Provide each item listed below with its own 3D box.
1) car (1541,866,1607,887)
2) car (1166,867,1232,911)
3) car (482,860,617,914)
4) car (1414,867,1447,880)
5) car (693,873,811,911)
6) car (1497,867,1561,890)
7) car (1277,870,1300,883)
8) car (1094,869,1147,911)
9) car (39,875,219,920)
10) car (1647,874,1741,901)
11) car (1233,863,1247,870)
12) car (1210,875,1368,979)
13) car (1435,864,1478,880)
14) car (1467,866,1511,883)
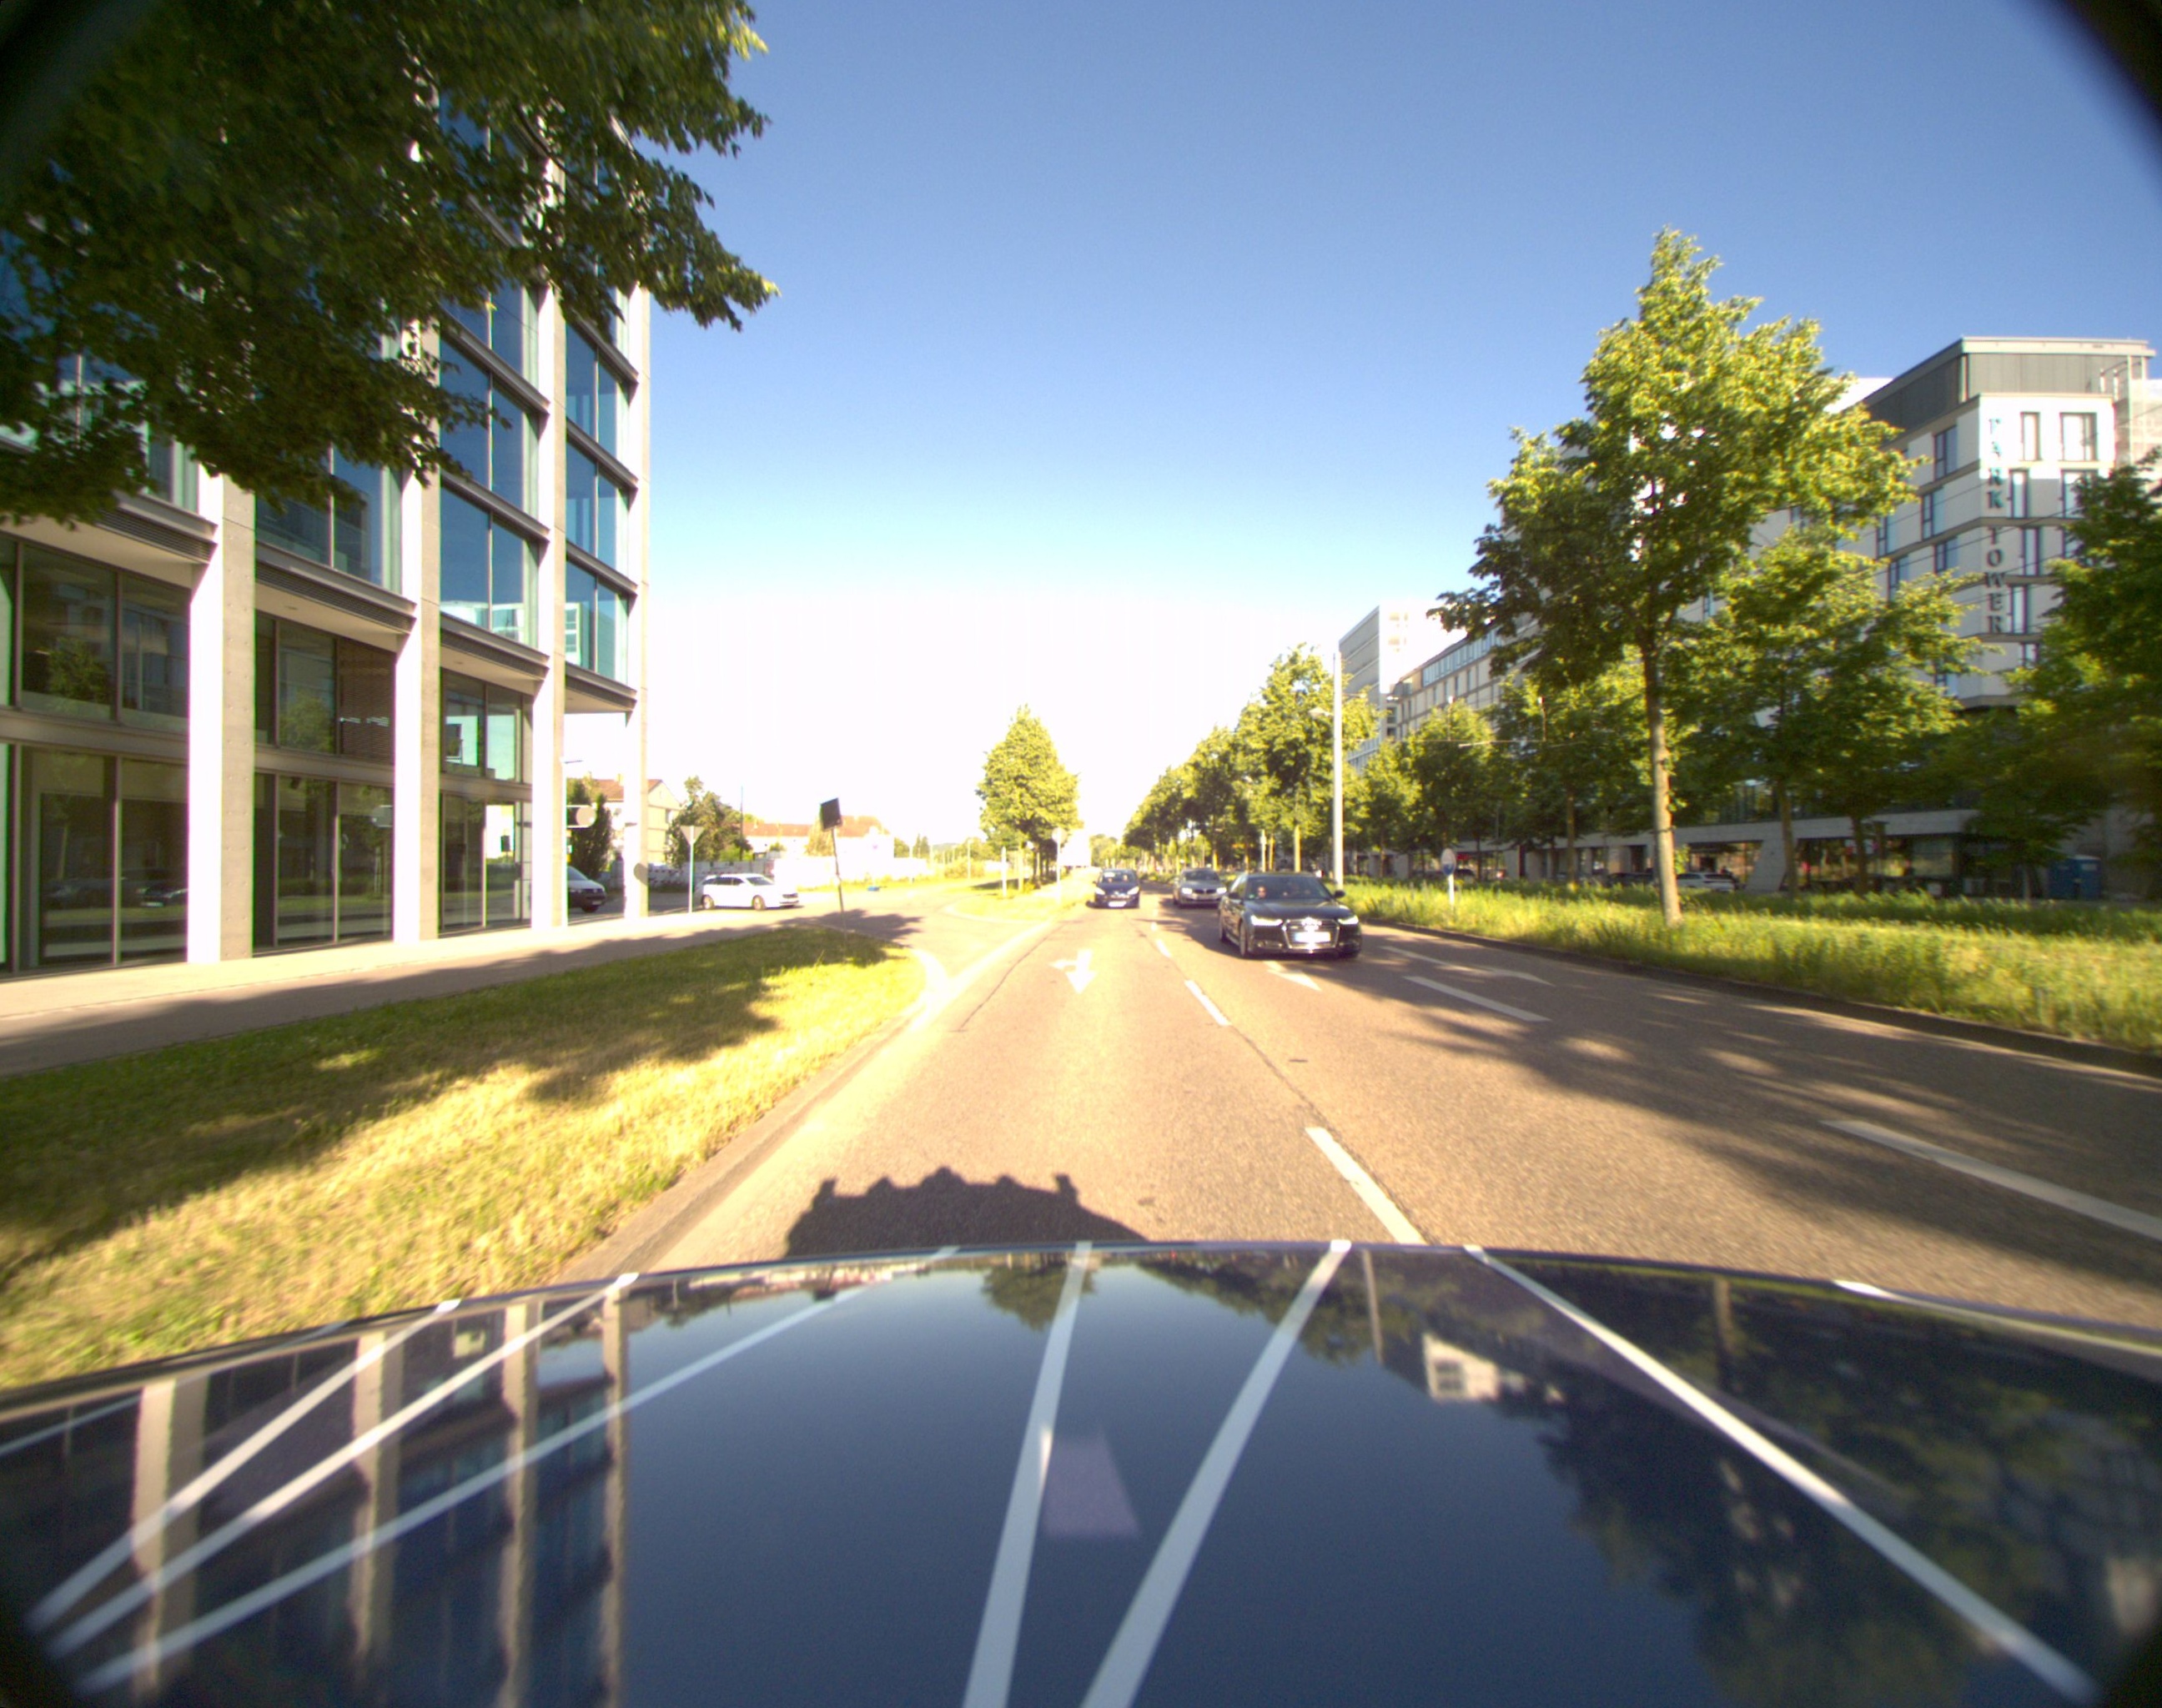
[{"bbox_3d":[34.631,1.530,53.539,1.719,1.411,4.545,0,-1,1],"label":"car"},{"bbox_3d":[4.471,1.296,29.445,1.849,1.559,4.529,0,-1,0],"label":"car"},{"bbox_3d":[-20.762,1.246,29.687,5.070,1.970,1.942,0,0,23],"label":"car"},{"bbox_3d":[34.906,1.912,76.023,1.672,1.200,3.583,0,0,-1],"label":"car"},{"bbox_3d":[-13.560,1.527,31.320,4.517,1.385,1.776,0,1,21],"label":"car"},{"bbox_3d":[29.384,1.580,49.999,1.719,1.412,4.545,0,0,2],"label":"car"},{"bbox_3d":[26.447,2.864,96.944,1.802,1.678,4.321,-1,-1,0],"label":"car"},{"bbox_3d":[1.473,1.335,29.394,1.763,1.506,3.948,0,-1,-1],"label":"car"},{"bbox_3d":[-37.089,1.646,29.793,1.998,1.606,4.001,0,-1,1],"label":"car"},{"bbox_3d":[34.498,1.847,42.929,1.719,1.411,4.545,0,-1,1],"label":"car"},{"bbox_3d":[29.384,2.363,140.591,1.802,1.284,4.312,1,-2,0],"label":"car"},{"bbox_3d":[3.551,1.170,13.868,1.788,1.518,4.602,0,-1,2],"label":"car"},{"bbox_3d":[34.888,1.635,70.760,1.672,1.411,4.805,0,-1,0],"label":"car"},{"bbox_3d":[34.635,1.736,64.576,1.737,1.346,3.754,0,-1,0],"label":"car"}]
